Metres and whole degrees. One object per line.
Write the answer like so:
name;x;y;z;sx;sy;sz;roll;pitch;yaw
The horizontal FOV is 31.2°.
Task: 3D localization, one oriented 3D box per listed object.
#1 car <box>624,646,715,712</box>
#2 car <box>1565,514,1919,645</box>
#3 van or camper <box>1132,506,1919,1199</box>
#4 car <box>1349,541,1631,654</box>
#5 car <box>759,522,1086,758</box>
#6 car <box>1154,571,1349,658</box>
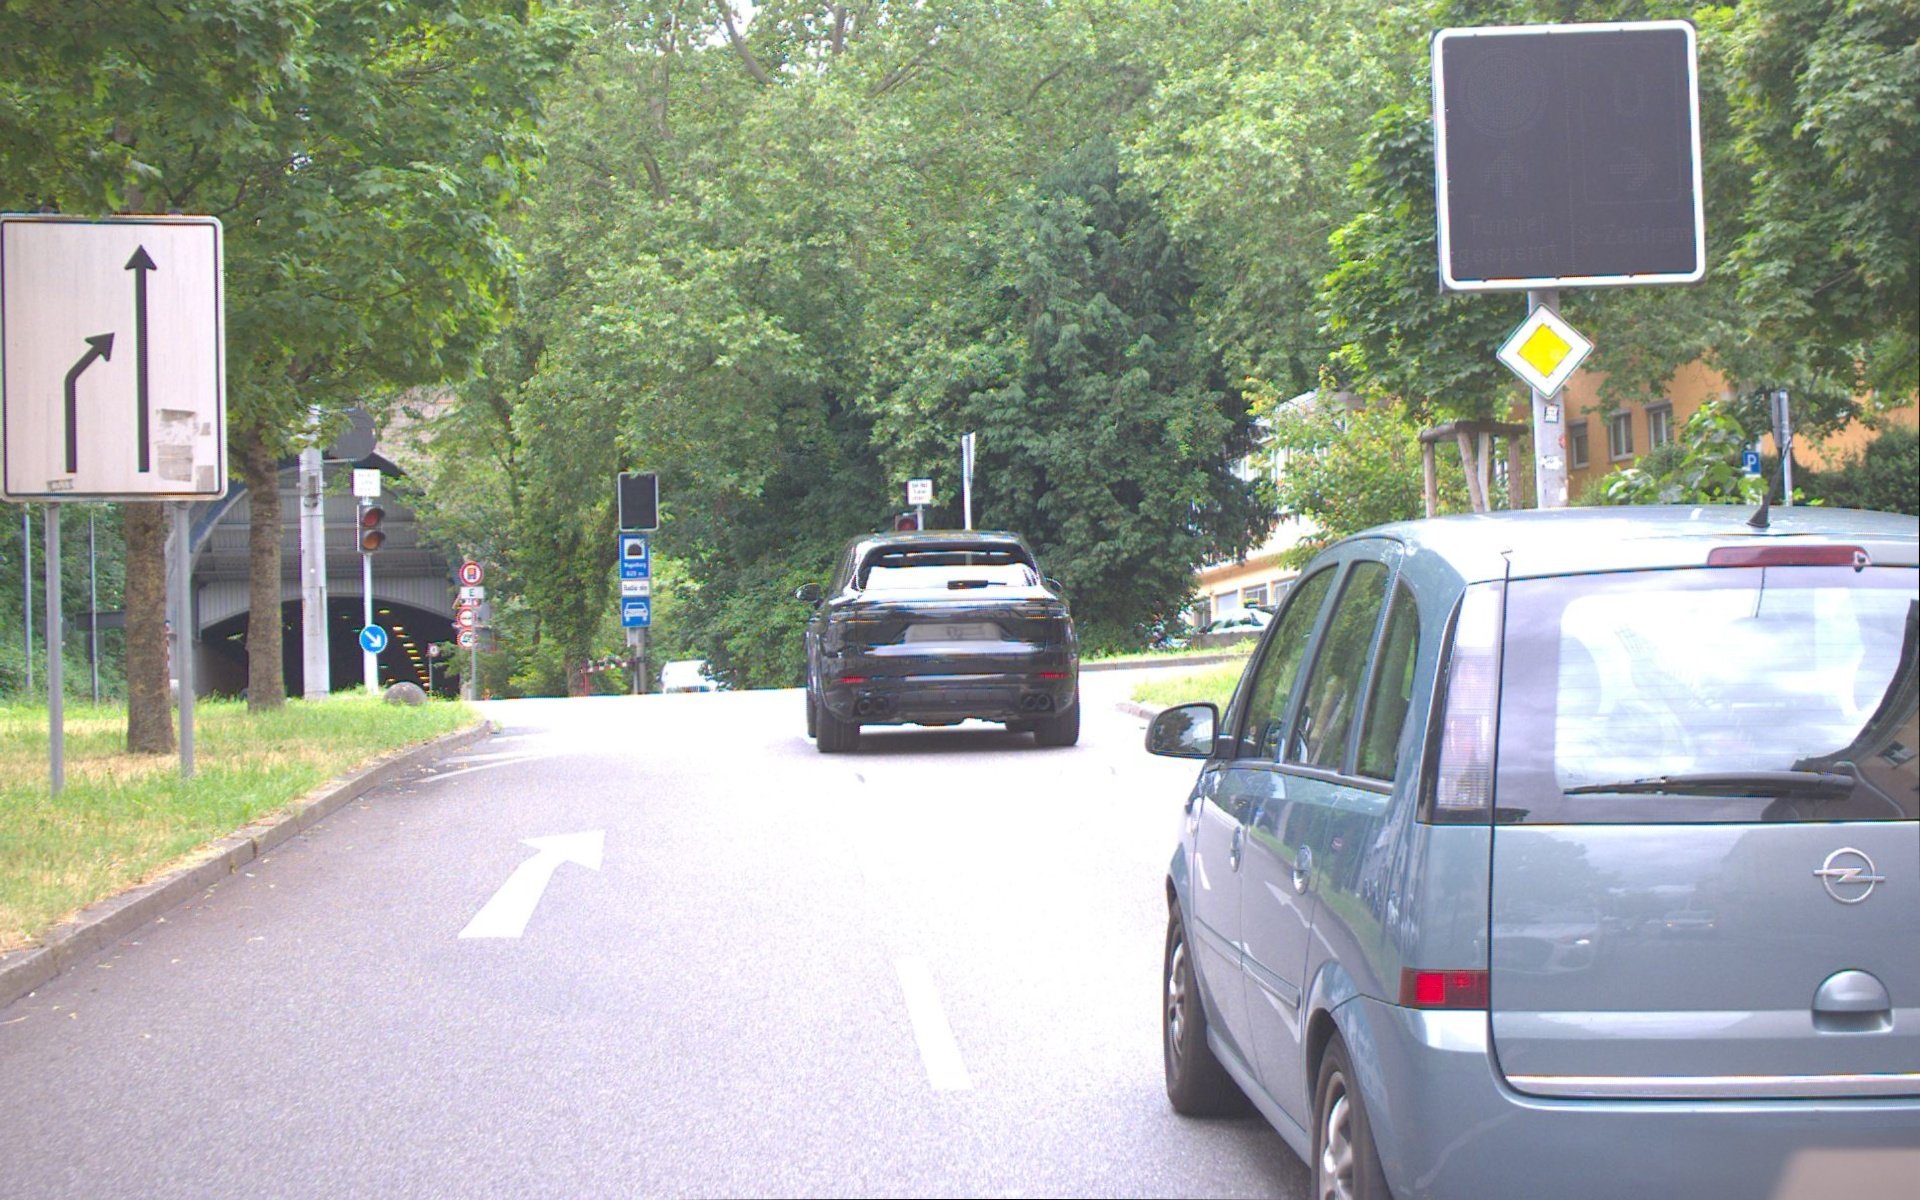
car;-7.008;1.921;82.493;1.784;1.437;5.063;-2;-2;-9
car;9.896;-0.272;43.088;4.116;1.423;1.863;-3;1;-14
van or camper;1.442;0.606;7.688;1.735;1.572;3.646;0;1;-3
car;7.407;-0.050;47.831;1.998;1.413;3.990;-2;0;42
car;-0.383;0.303;27.076;1.993;1.647;4.001;-2;0;-8
car;6.108;0.333;72.700;1.993;1.573;4.905;-2;-2;-23
